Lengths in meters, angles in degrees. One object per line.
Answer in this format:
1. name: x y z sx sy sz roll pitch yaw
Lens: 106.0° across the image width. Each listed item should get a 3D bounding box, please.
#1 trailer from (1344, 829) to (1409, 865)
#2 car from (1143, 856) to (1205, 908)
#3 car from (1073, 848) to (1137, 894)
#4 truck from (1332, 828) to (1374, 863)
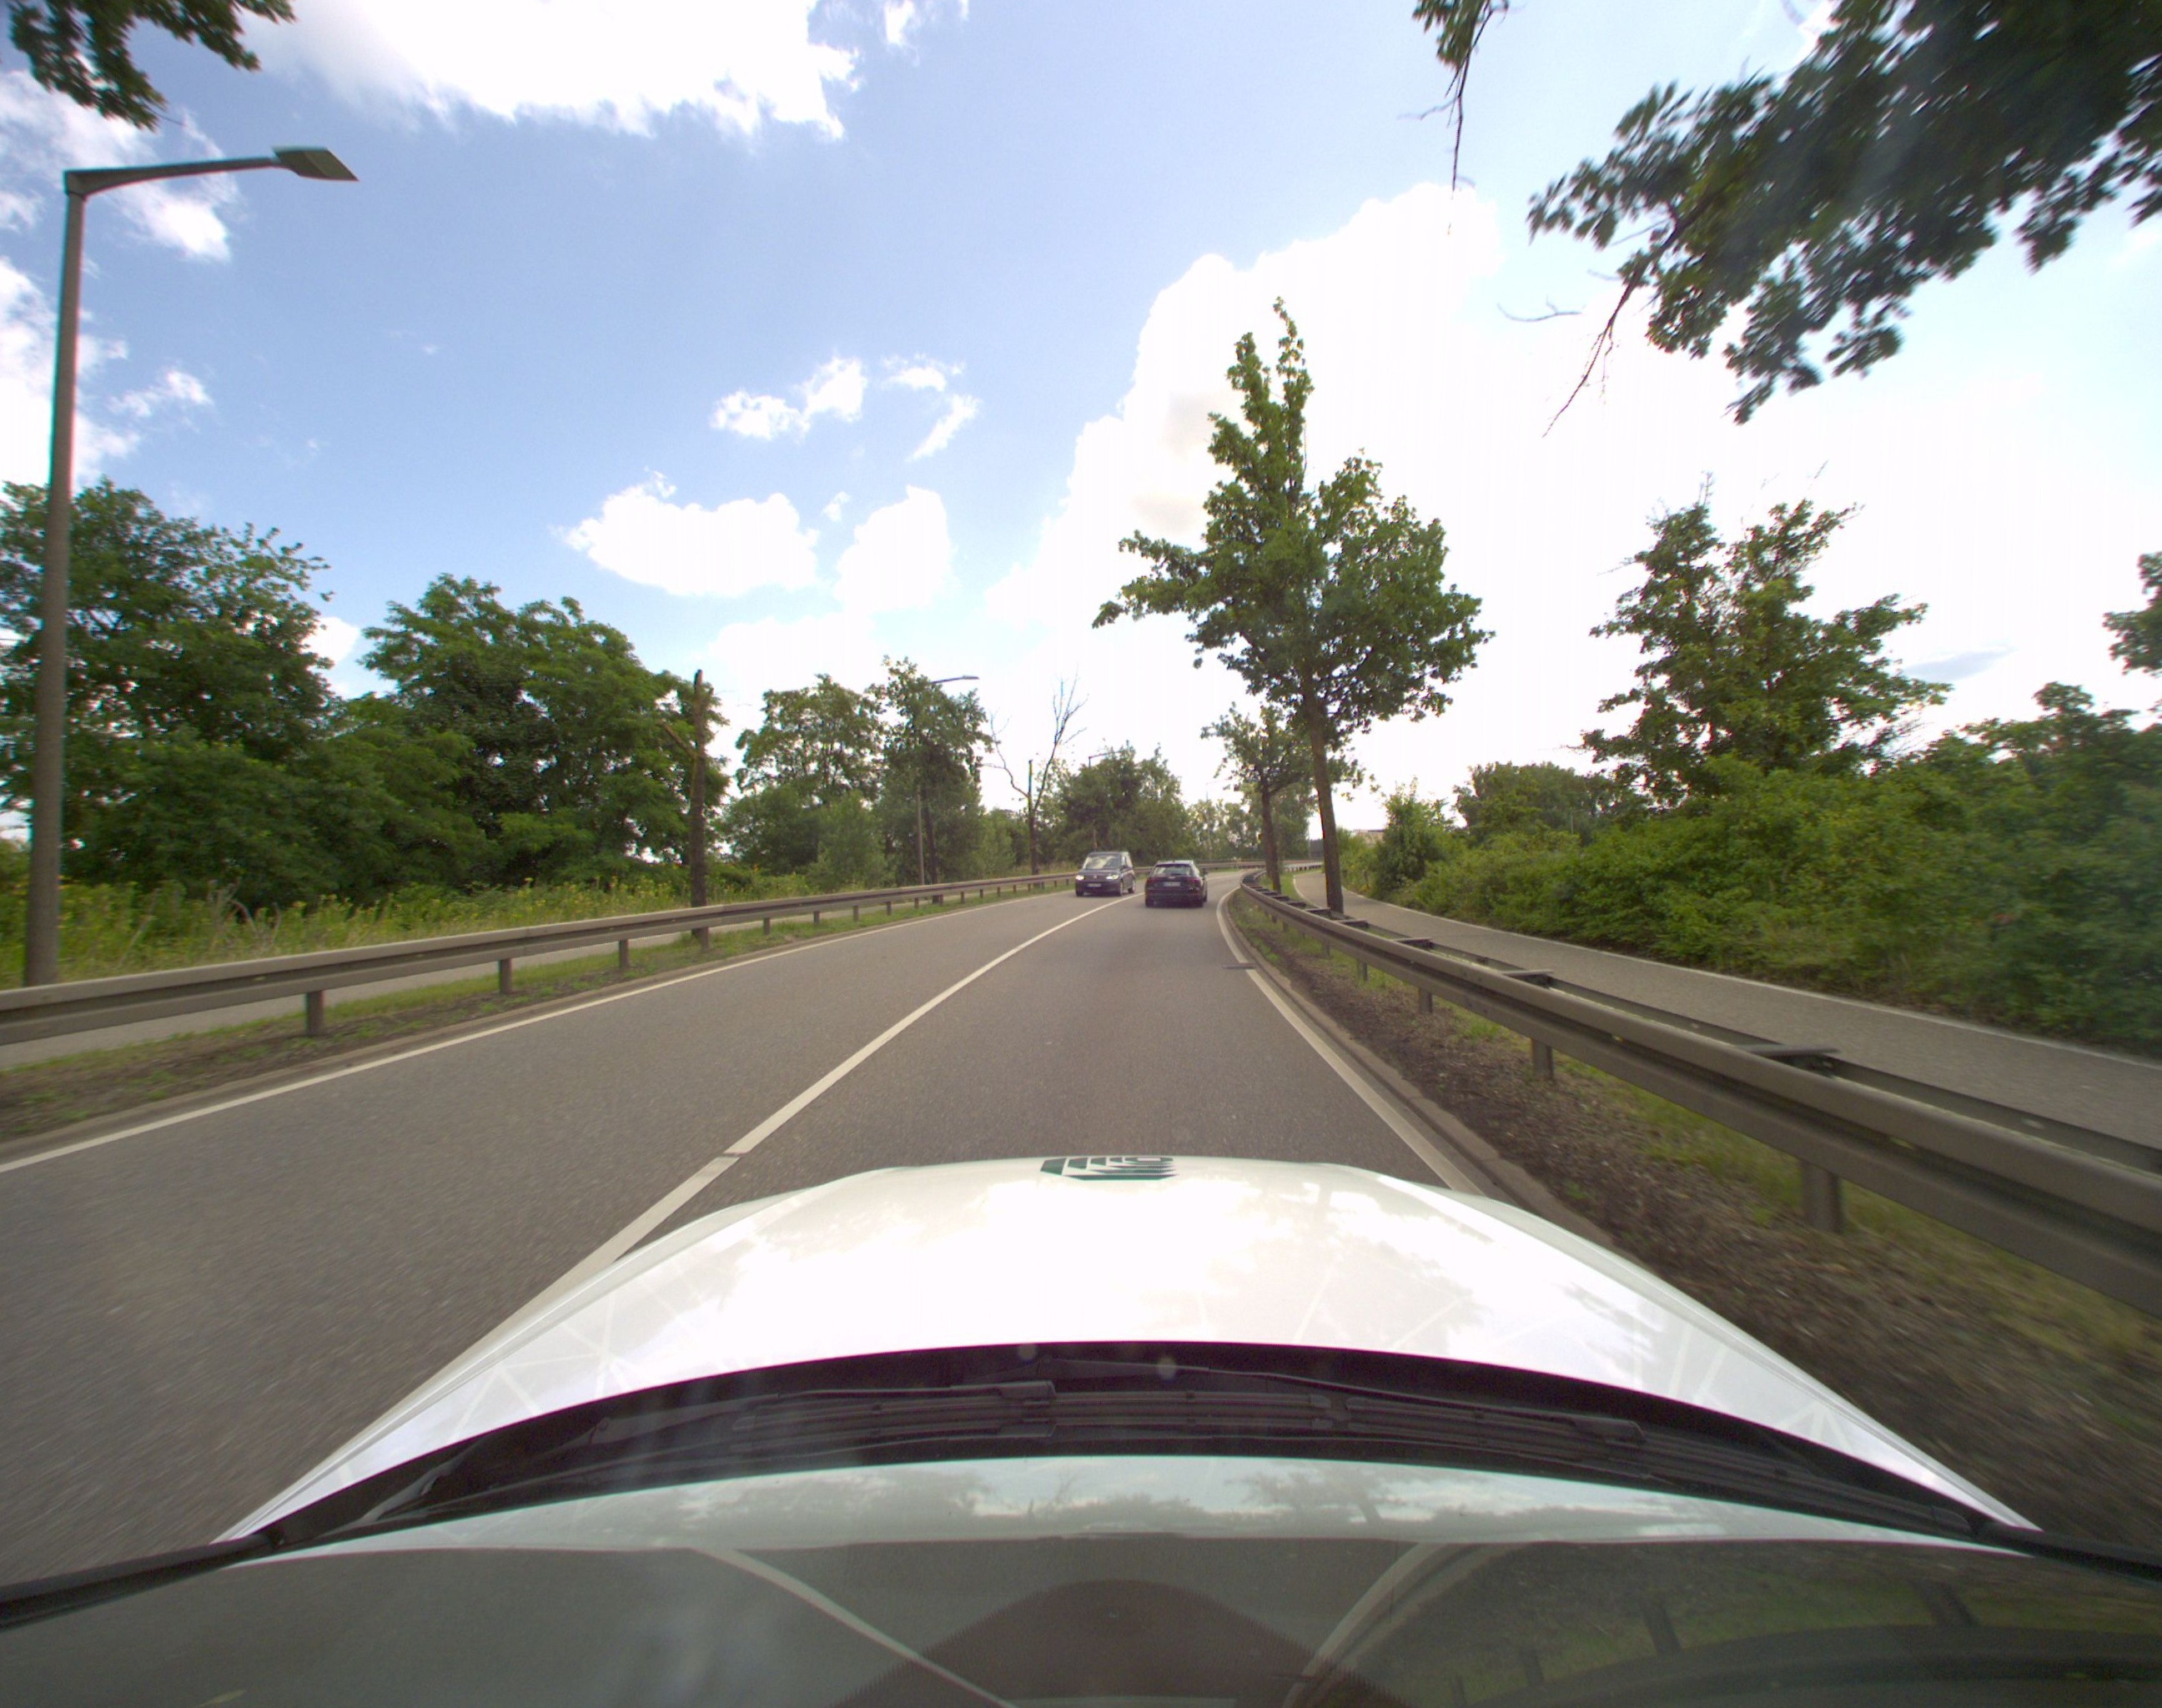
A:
1. trailer: 37.813 -0.825 103.805 2.680 4.280 14.319 -1 -1 41
2. car: 2.961 0.841 26.282 1.819 1.491 4.213 1 0 6
3. car: 1.043 0.641 33.065 1.840 1.709 4.326 0 0 12
4. truck: 32.825 -1.015 98.057 2.735 4.134 5.688 -1 0 41
